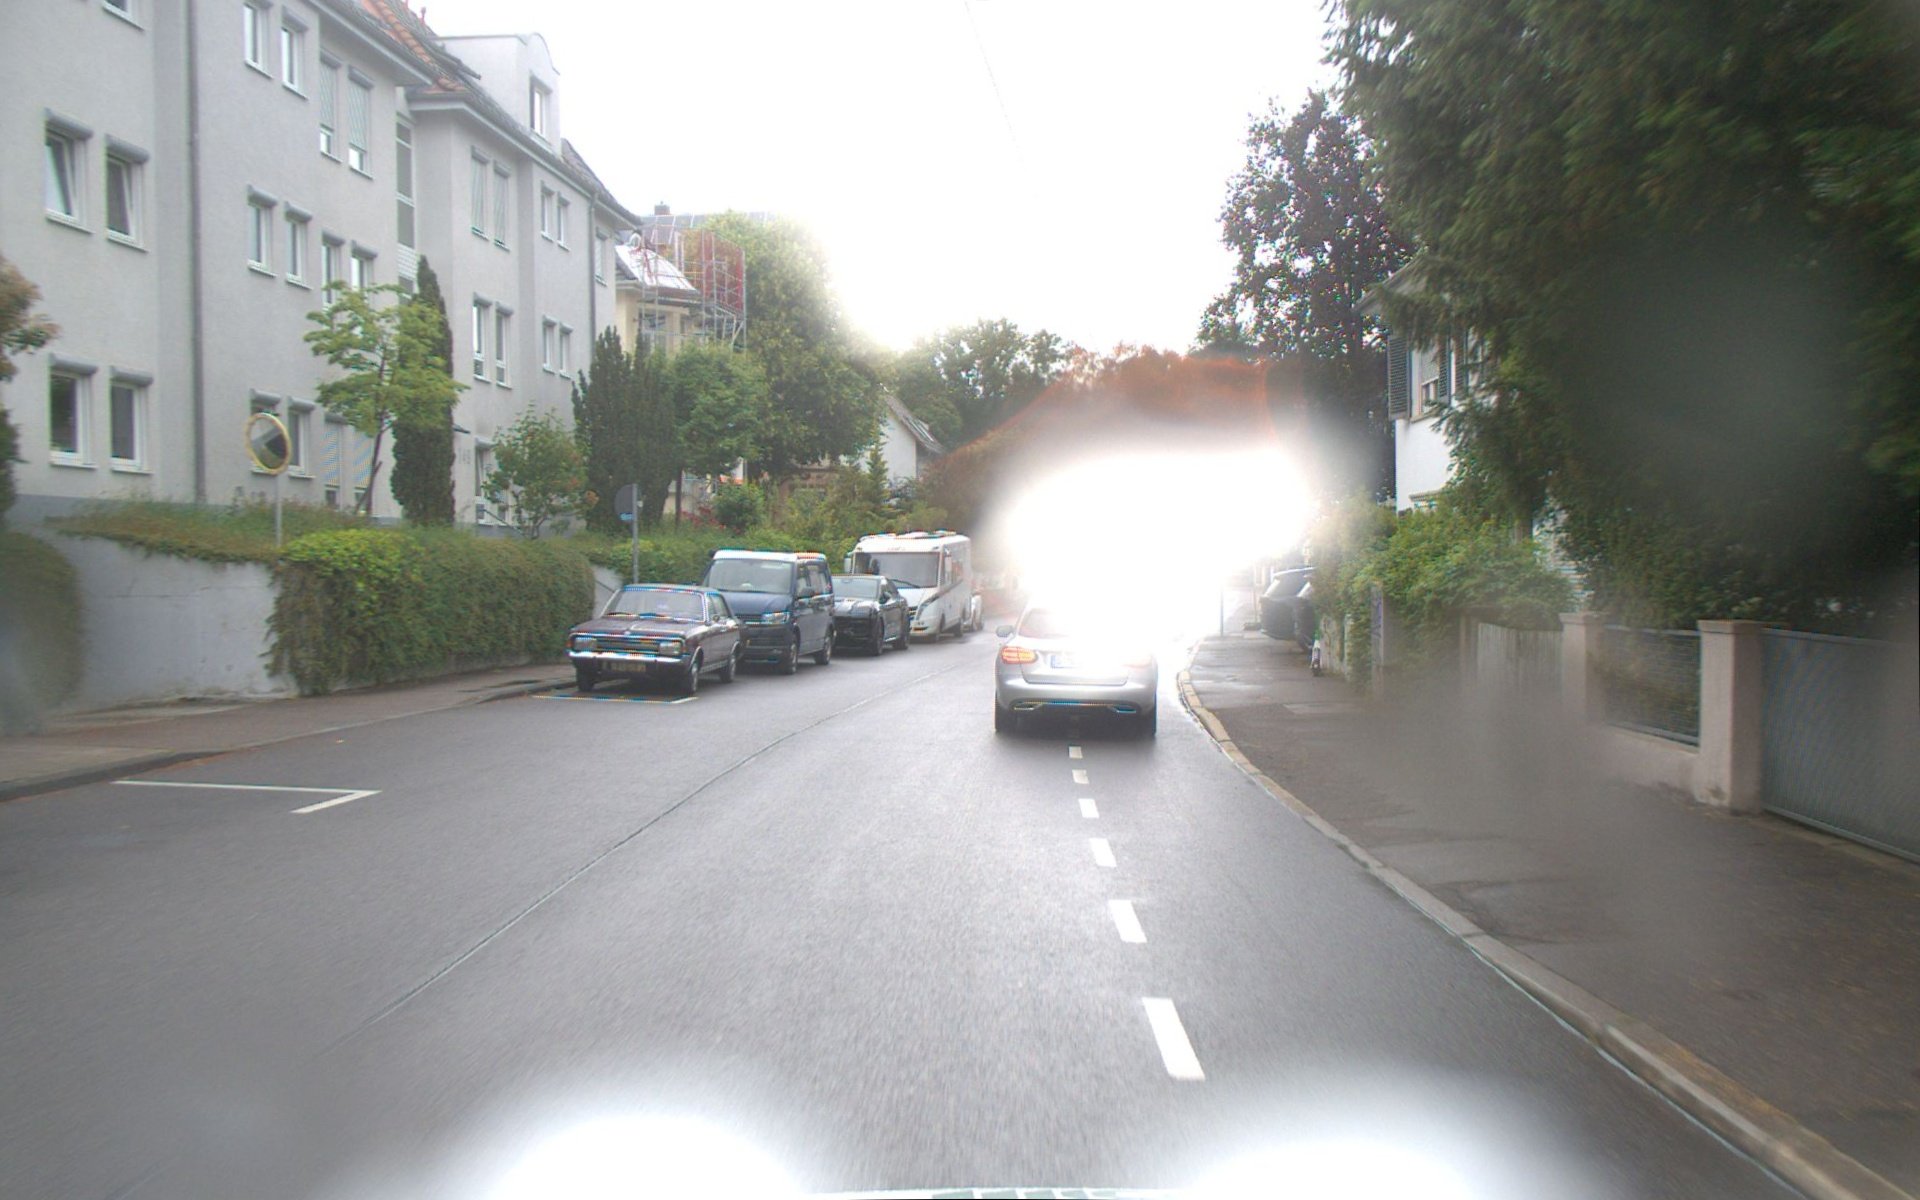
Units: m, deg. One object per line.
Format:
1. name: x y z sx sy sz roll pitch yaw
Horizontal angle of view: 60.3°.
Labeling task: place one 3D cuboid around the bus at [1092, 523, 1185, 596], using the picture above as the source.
1. bus: 9.813 -2.347 92.191 2.872 3.714 10.156 1 3 -7

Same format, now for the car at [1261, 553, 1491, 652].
1. car: 8.977 0.049 35.997 4.563 1.907 2.002 -2 1 6

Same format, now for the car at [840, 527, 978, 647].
1. car: -1.198 -0.433 42.905 2.340 2.820 6.538 2 2 9

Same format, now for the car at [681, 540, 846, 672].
1. car: -3.344 0.080 29.184 1.790 2.092 5.013 1 0 6

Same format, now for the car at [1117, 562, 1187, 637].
1. car: 5.309 -0.012 45.531 1.804 1.937 4.003 1 0 7

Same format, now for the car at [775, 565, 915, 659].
1. car: -2.374 0.193 35.489 1.951 1.717 4.682 2 3 9

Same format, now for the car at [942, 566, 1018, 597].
1. car: 1.041 -0.982 85.945 3.905 1.444 1.888 1 3 0

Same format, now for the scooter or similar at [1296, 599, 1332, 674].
1. scooter or similar: 6.019 0.611 28.155 0.446 1.221 1.867 1 0 8

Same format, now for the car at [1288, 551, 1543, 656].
1. car: 8.940 0.059 32.813 4.563 1.844 2.002 -2 1 6

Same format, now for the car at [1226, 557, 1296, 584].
1. car: 18.558 -1.833 102.035 3.913 1.557 1.756 1 3 -9

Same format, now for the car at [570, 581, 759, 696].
1. car: -4.113 0.470 23.706 1.609 1.442 4.615 1 1 3

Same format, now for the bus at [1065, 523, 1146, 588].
1. bus: 8.758 -2.821 101.164 2.872 3.714 10.290 1 3 -7

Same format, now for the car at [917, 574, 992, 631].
1. car: -0.128 0.045 48.621 1.676 1.472 3.258 2 3 9

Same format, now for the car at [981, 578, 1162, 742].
1. car: 1.319 0.573 18.624 1.778 1.583 4.003 2 1 6
